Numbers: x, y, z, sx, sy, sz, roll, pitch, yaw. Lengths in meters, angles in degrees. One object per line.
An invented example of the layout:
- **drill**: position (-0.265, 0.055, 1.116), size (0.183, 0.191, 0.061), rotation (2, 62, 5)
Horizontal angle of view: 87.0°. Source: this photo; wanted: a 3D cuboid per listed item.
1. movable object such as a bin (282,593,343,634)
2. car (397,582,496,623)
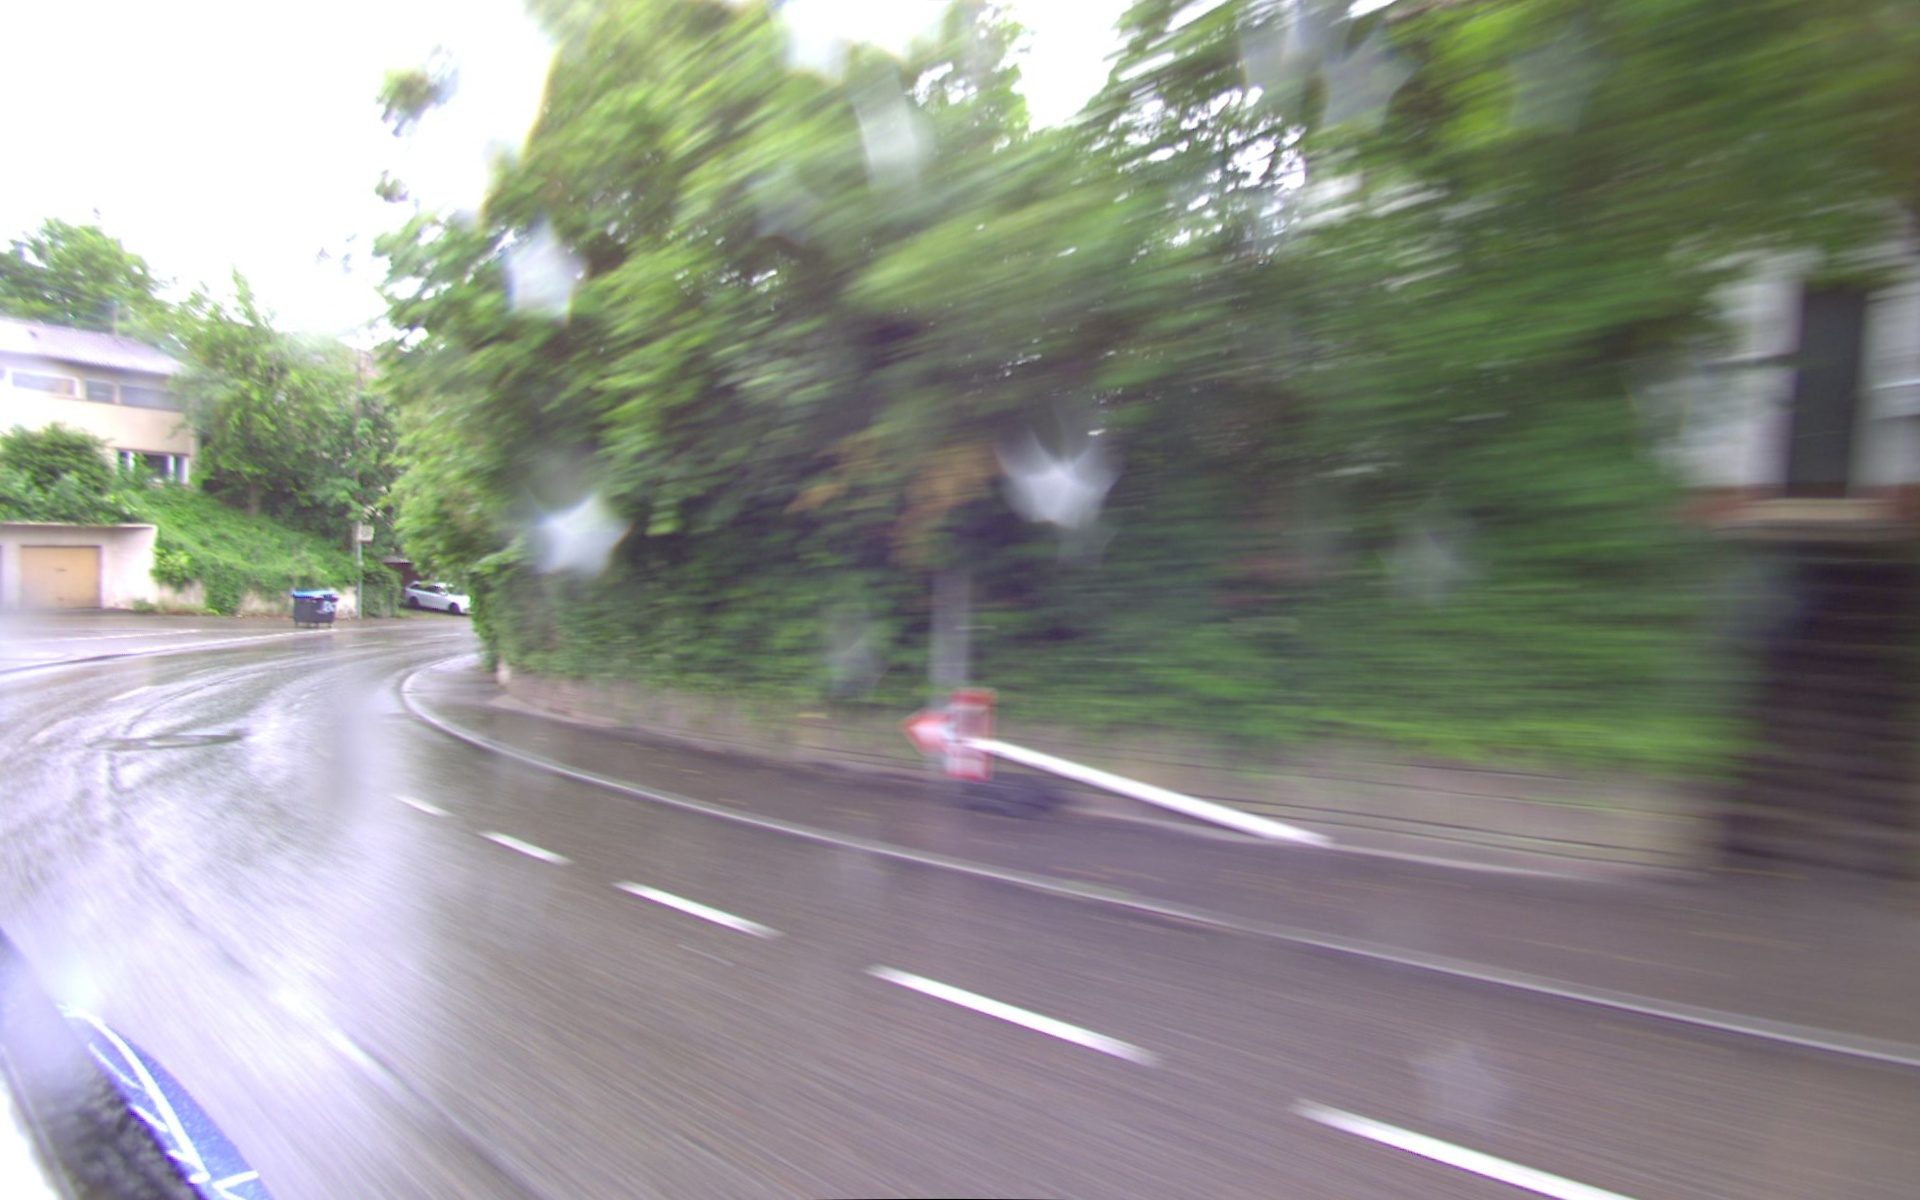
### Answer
- **movable object such as a bin**: position (-24.693, 0.533, 38.628), size (1.150, 1.419, 1.476), rotation (6, 1, 18)
- **car**: position (-27.106, 0.122, 53.426), size (4.529, 1.564, 1.988), rotation (7, 1, 18)
